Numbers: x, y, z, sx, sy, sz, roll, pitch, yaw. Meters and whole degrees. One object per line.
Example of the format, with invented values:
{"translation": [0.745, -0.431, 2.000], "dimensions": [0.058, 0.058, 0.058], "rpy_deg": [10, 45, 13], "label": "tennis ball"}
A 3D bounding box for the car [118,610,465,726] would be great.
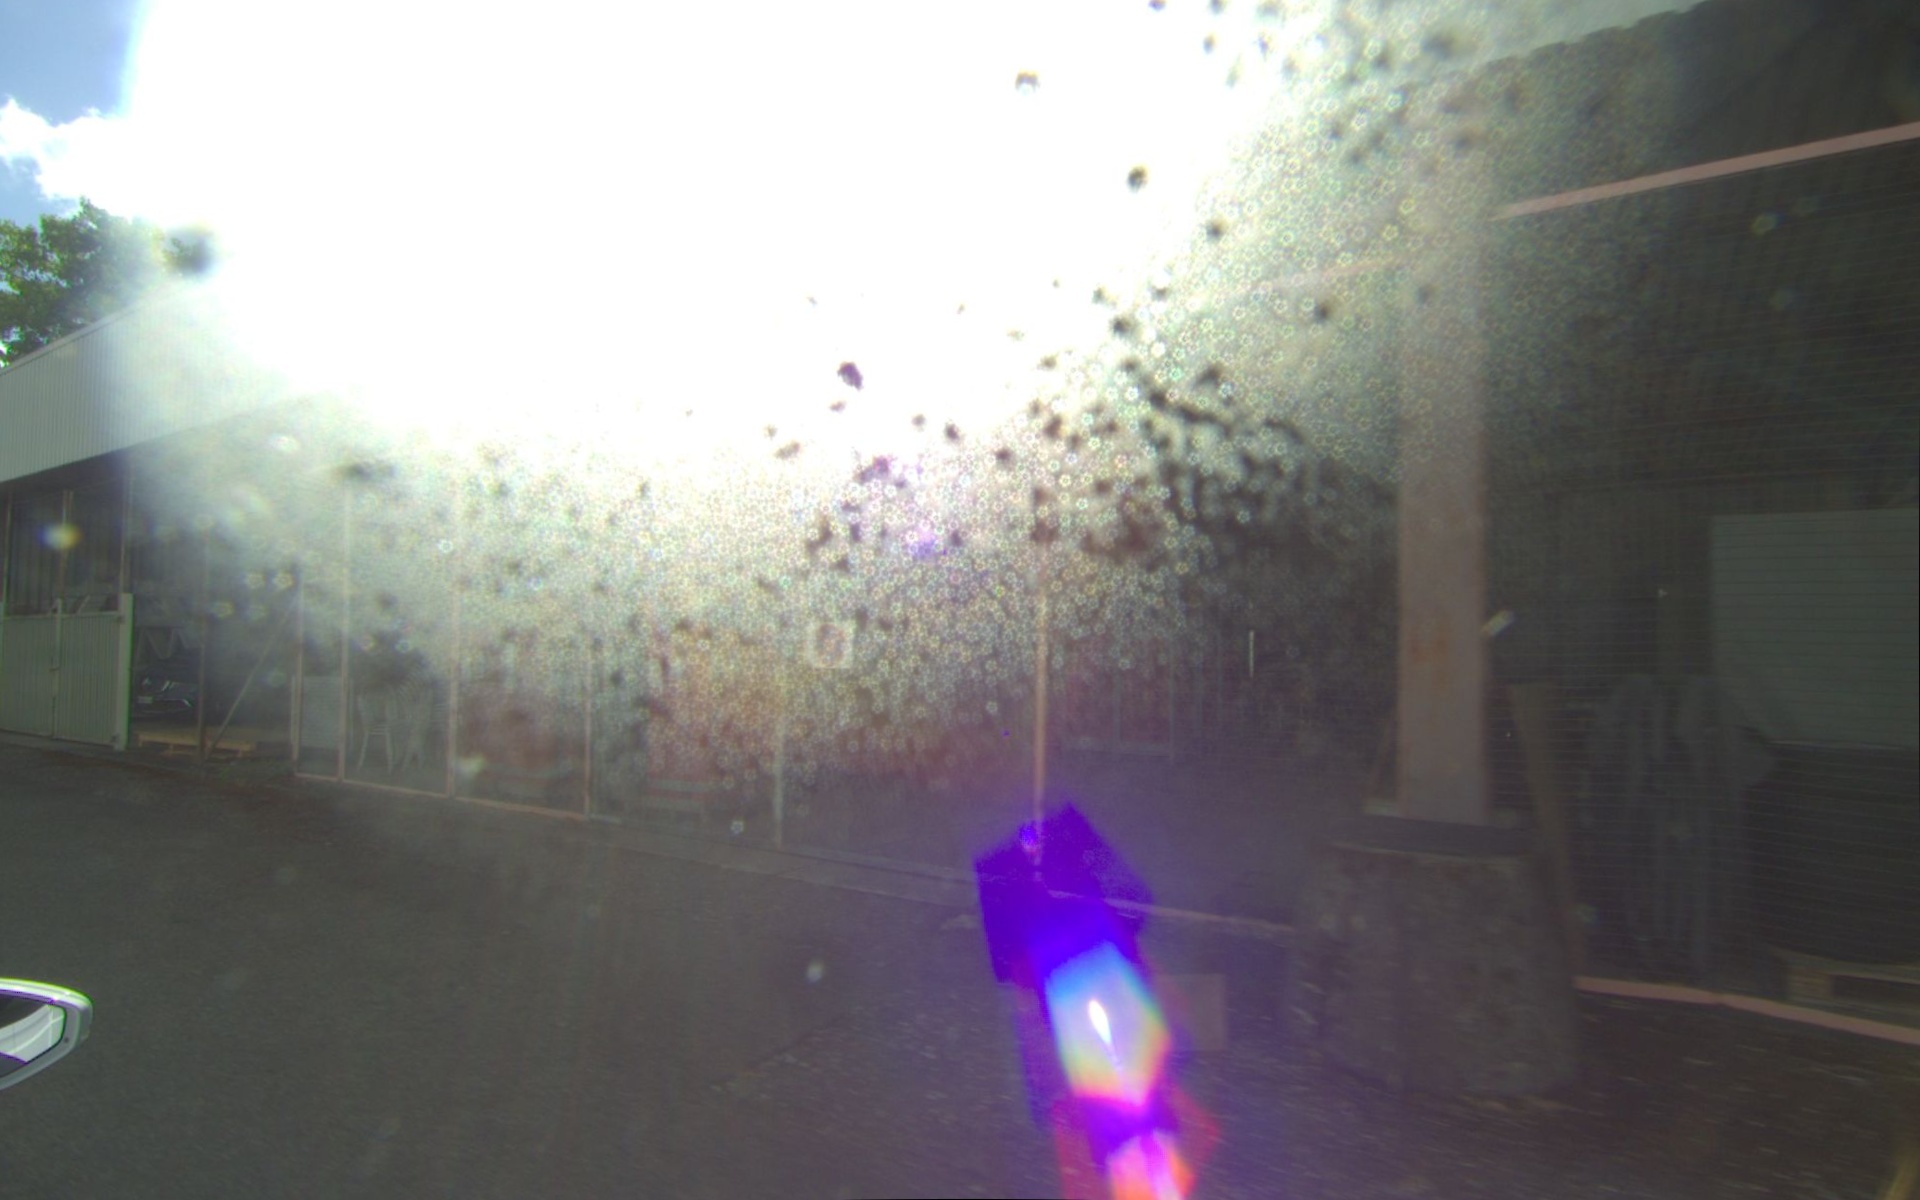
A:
{"translation": [-12.739, 1.317, 19.546], "dimensions": [2.243, 1.941, 5.166], "rpy_deg": [-1, -4, 28], "label": "car"}

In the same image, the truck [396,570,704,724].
{"translation": [-8.219, 0.988, 20.723], "dimensions": [2.333, 2.739, 5.558], "rpy_deg": [-1, -3, 33], "label": "truck"}

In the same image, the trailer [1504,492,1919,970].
{"translation": [4.833, 0.617, 5.195], "dimensions": [3.470, 2.170, 1.575], "rpy_deg": [-2, -2, 30], "label": "trailer"}
